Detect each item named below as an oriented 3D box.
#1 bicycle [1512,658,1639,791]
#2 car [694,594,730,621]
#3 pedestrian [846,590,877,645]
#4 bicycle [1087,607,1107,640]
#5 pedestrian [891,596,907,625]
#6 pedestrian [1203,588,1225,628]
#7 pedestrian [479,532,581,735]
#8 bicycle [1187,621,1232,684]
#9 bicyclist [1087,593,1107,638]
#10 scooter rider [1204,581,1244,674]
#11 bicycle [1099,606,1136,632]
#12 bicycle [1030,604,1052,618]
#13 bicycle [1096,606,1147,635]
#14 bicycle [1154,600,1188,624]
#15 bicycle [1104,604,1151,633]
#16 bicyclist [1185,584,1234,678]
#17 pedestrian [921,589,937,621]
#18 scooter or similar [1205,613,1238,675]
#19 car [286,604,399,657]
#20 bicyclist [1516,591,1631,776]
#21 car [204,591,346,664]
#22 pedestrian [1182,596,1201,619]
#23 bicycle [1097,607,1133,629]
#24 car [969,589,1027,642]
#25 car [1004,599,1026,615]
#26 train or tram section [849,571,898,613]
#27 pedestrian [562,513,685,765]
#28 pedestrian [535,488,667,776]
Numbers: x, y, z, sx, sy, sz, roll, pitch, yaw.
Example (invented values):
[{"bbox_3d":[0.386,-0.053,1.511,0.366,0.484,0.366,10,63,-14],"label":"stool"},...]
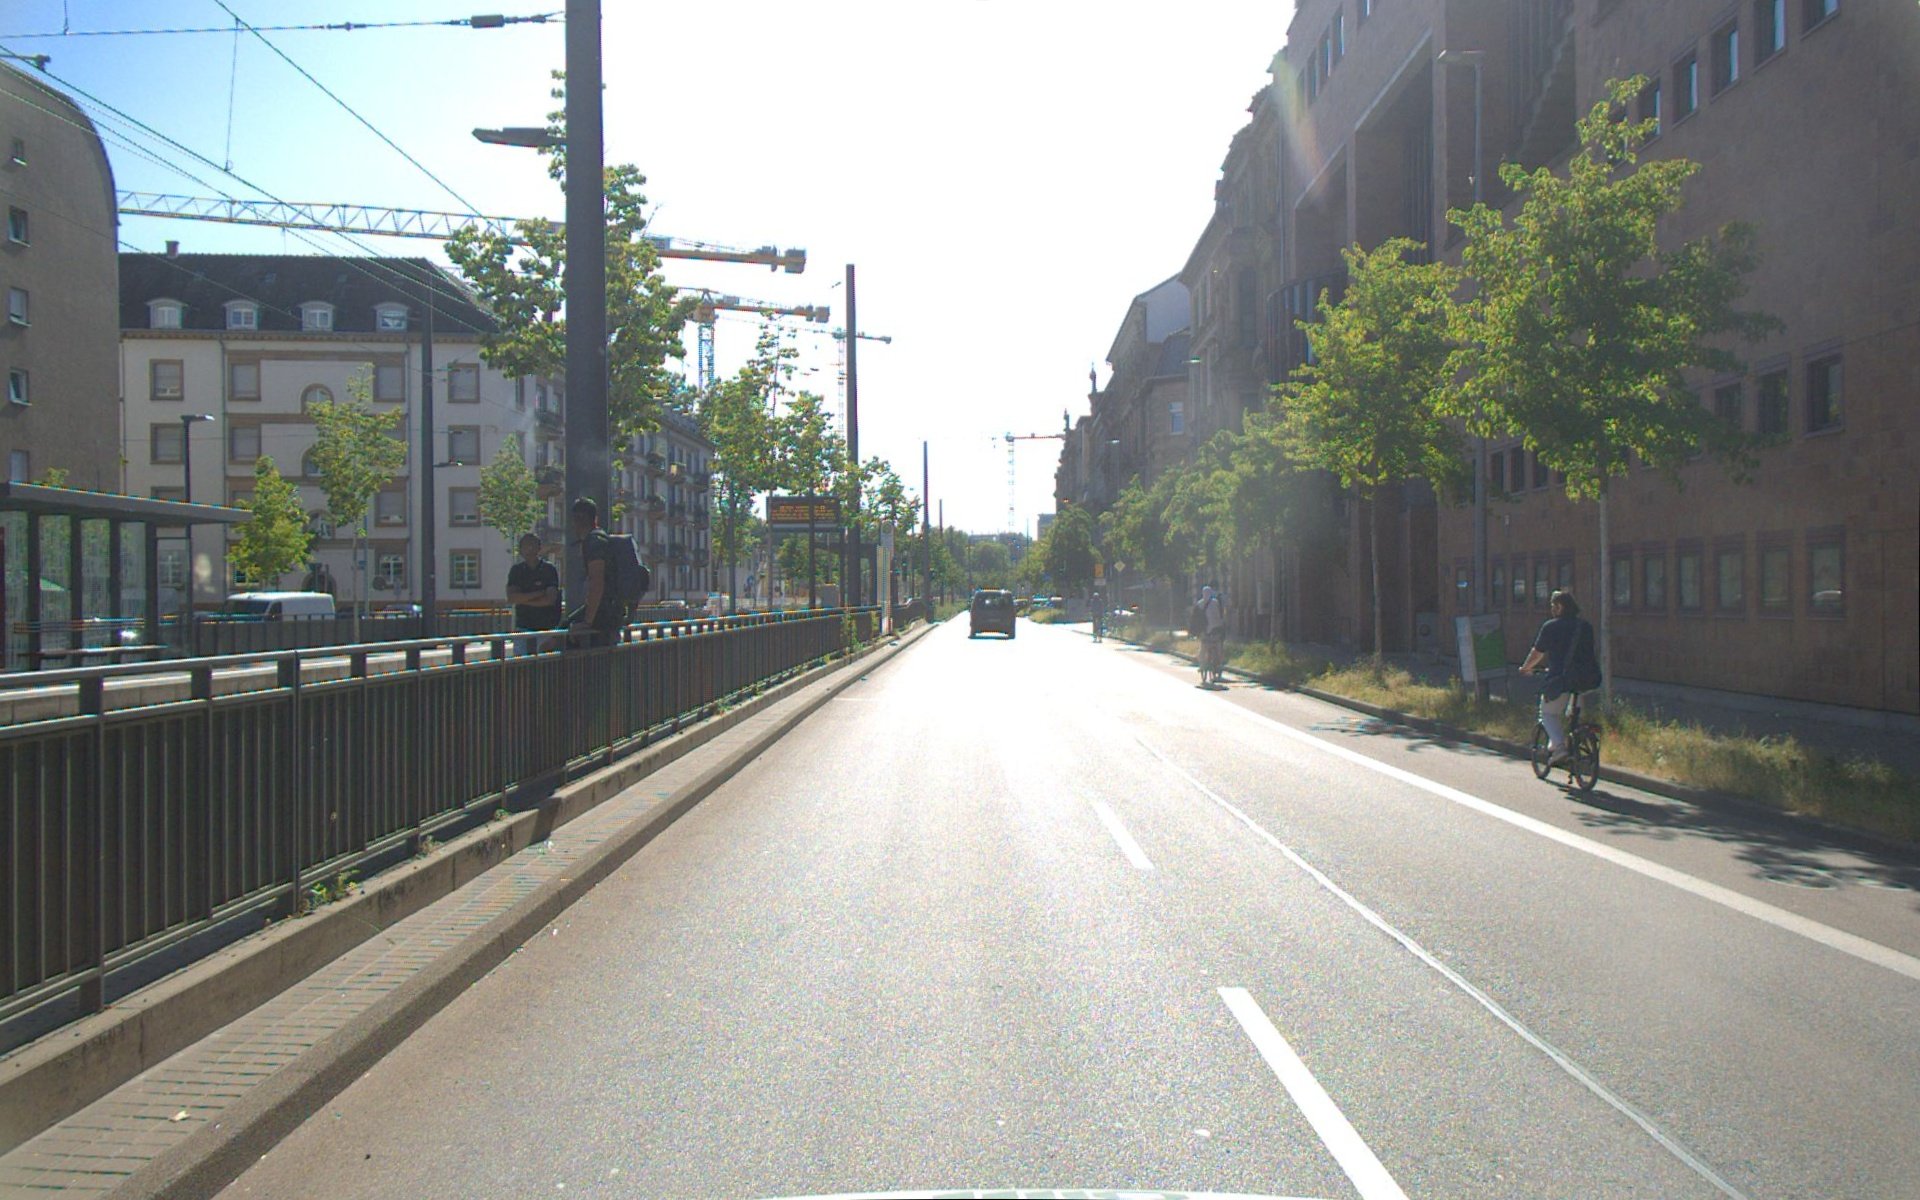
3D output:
[{"bbox_3d":[5.377,1.063,14.525,0.546,1.045,1.507,1,0,0],"label":"bicycle"},{"bbox_3d":[-17.560,0.560,117.406,1.782,1.826,4.090,1,-1,2],"label":"car"},{"bbox_3d":[-2.838,0.502,47.727,0.796,1.563,0.798,-1,0,2],"label":"pedestrian"},{"bbox_3d":[5.239,0.897,63.389,0.589,1.201,1.869,1,0,0],"label":"bicycle"},{"bbox_3d":[-3.300,0.557,89.710,0.796,1.563,0.798,0,0,2],"label":"pedestrian"},{"bbox_3d":[9.903,0.313,64.610,0.694,1.569,0.927,-1,0,0],"label":"pedestrian"},{"bbox_3d":[-3.827,0.292,14.757,0.694,1.753,0.752,-1,0,-1],"label":"pedestrian"},{"bbox_3d":[4.706,0.972,31.272,0.546,1.111,1.792,1,0,0],"label":"bicycle"},{"bbox_3d":[5.250,0.573,63.439,0.670,1.702,0.922,1,0,0],"label":"bicyclist"},{"bbox_3d":[5.476,0.559,34.310,0.652,1.893,0.901,1,0,0],"label":"scooter rider"},{"bbox_3d":[6.952,0.824,73.122,1.566,1.063,0.607,-3,0,4],"label":"bicycle"},{"bbox_3d":[6.621,0.895,134.937,1.755,1.048,0.527,0,0,0],"label":"bicycle"},{"bbox_3d":[6.866,0.848,70.438,1.958,1.111,0.845,-3,0,-9],"label":"bicycle"},{"bbox_3d":[11.340,0.653,89.006,1.779,1.191,0.655,-1,3,4],"label":"bicycle"},{"bbox_3d":[7.268,0.792,71.808,1.954,1.148,0.710,-3,0,2],"label":"bicycle"},{"bbox_3d":[4.731,0.576,31.437,0.763,1.741,0.868,1,0,0],"label":"bicyclist"},{"bbox_3d":[-1.771,0.302,95.510,0.848,1.819,0.970,0,0,-6],"label":"pedestrian"},{"bbox_3d":[5.417,0.905,34.320,0.480,1.248,1.170,1,0,0],"label":"scooter or similar"},{"bbox_3d":[-18.262,0.888,49.105,1.840,1.490,3.999,1,-1,0],"label":"car"},{"bbox_3d":[5.375,0.711,14.533,0.644,1.564,0.909,1,0,0],"label":"bicyclist"},{"bbox_3d":[-23.772,0.897,57.680,1.951,2.411,5.650,0,0,8],"label":"car"},{"bbox_3d":[12.641,0.430,90.327,0.833,1.235,0.933,0,0,-6],"label":"pedestrian"},{"bbox_3d":[7.204,0.815,76.819,1.634,0.960,0.607,-2,0,8],"label":"bicycle"},{"bbox_3d":[1.464,0.588,65.045,2.155,1.960,4.654,-1,0,0],"label":"car"},{"bbox_3d":[5.244,0.665,158.768,1.986,1.525,4.654,-1,0,0],"label":"car"},{"bbox_3d":[-6.075,-0.509,117.288,2.699,2.791,9.865,1,-1,2],"label":"train or tram section"},{"bbox_3d":[-2.456,0.280,12.137,0.730,1.779,0.715,-1,0,0],"label":"pedestrian"},{"bbox_3d":[-2.469,0.214,11.442,0.730,1.917,0.715,-1,0,0],"label":"pedestrian"}]
